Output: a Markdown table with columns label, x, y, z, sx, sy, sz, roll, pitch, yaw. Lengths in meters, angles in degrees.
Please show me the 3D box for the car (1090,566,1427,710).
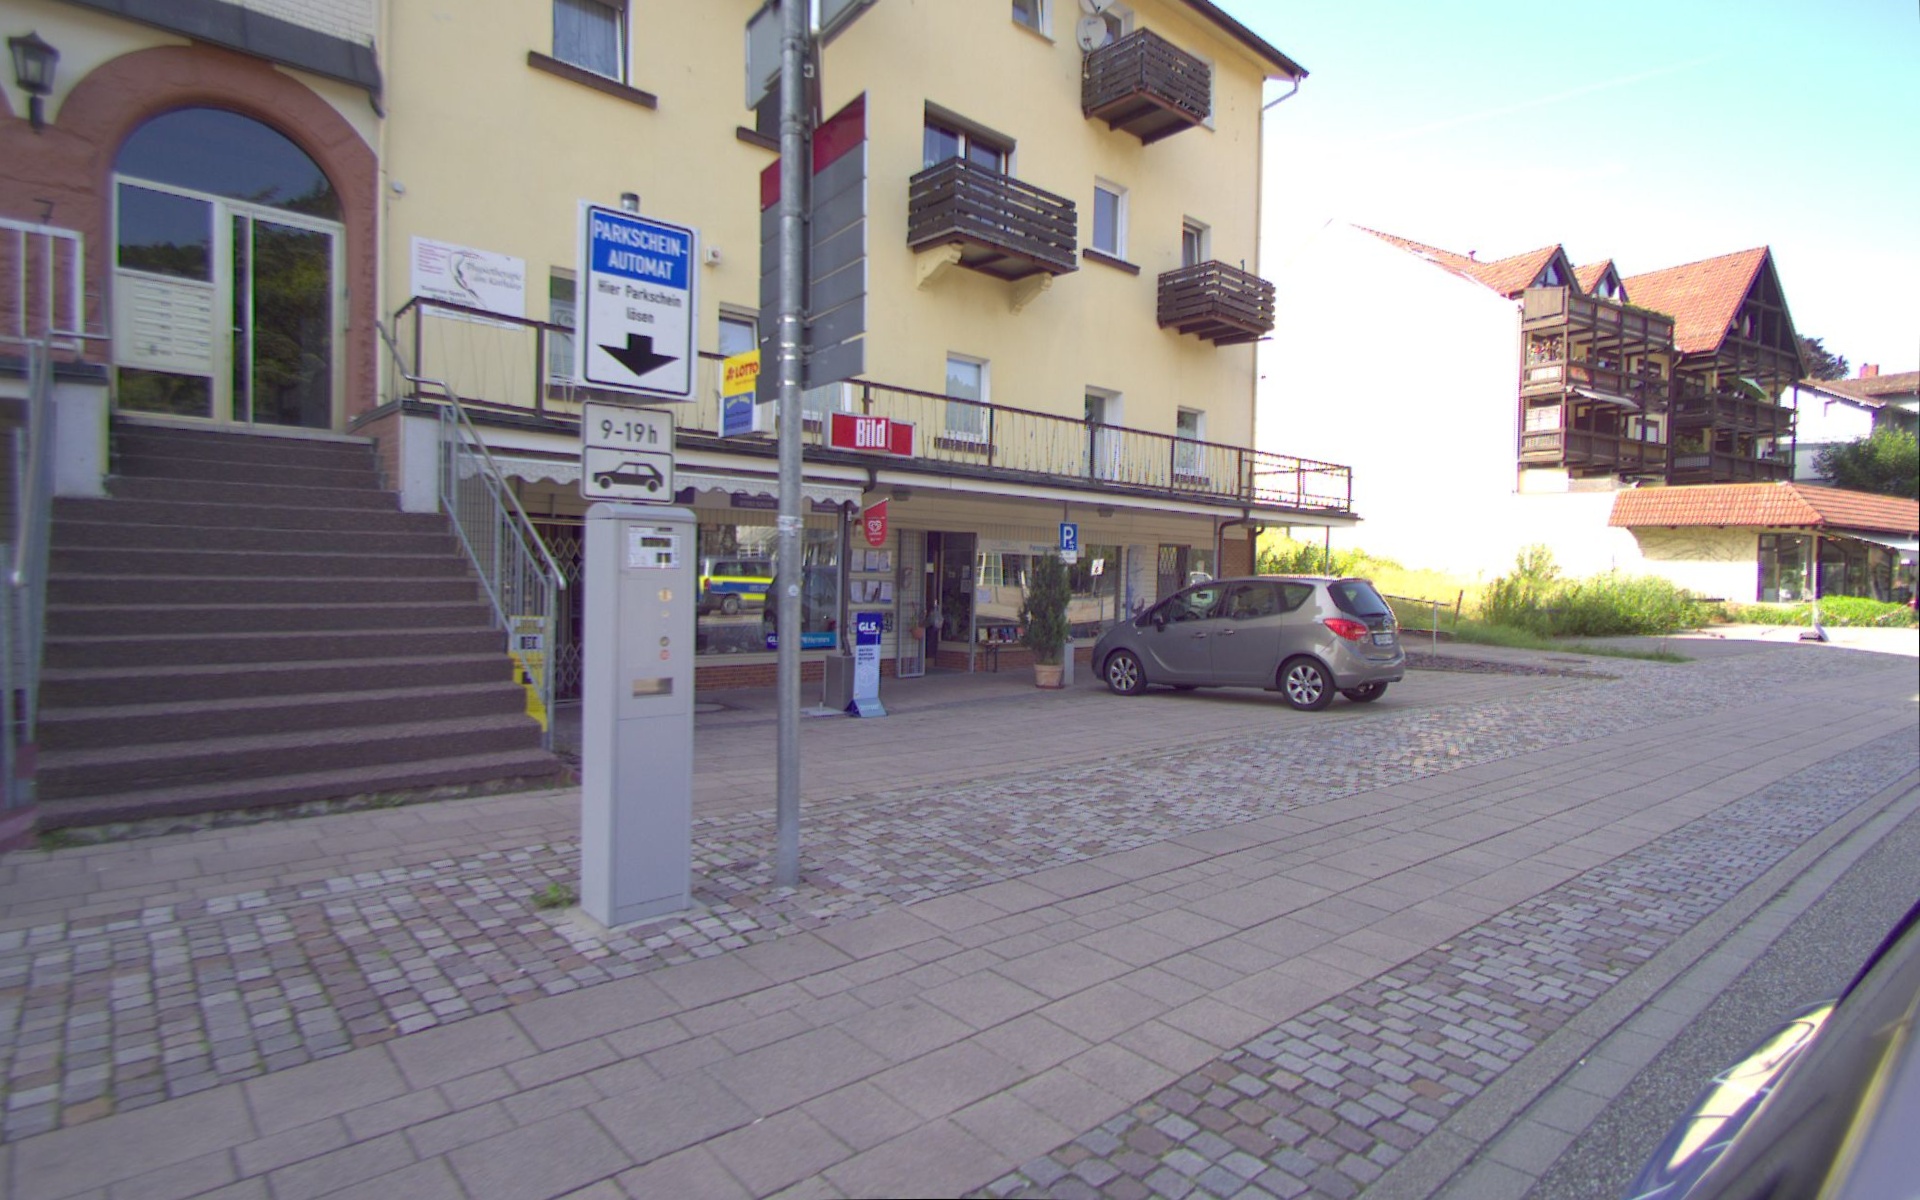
| label | x | y | z | sx | sy | sz | roll | pitch | yaw |
| --- | --- | --- | --- | --- | --- | --- | --- | --- | --- |
| car | 3.726 | 0.430 | 13.117 | 1.731 | 1.574 | 3.863 | 0 | -1 | -42 |
